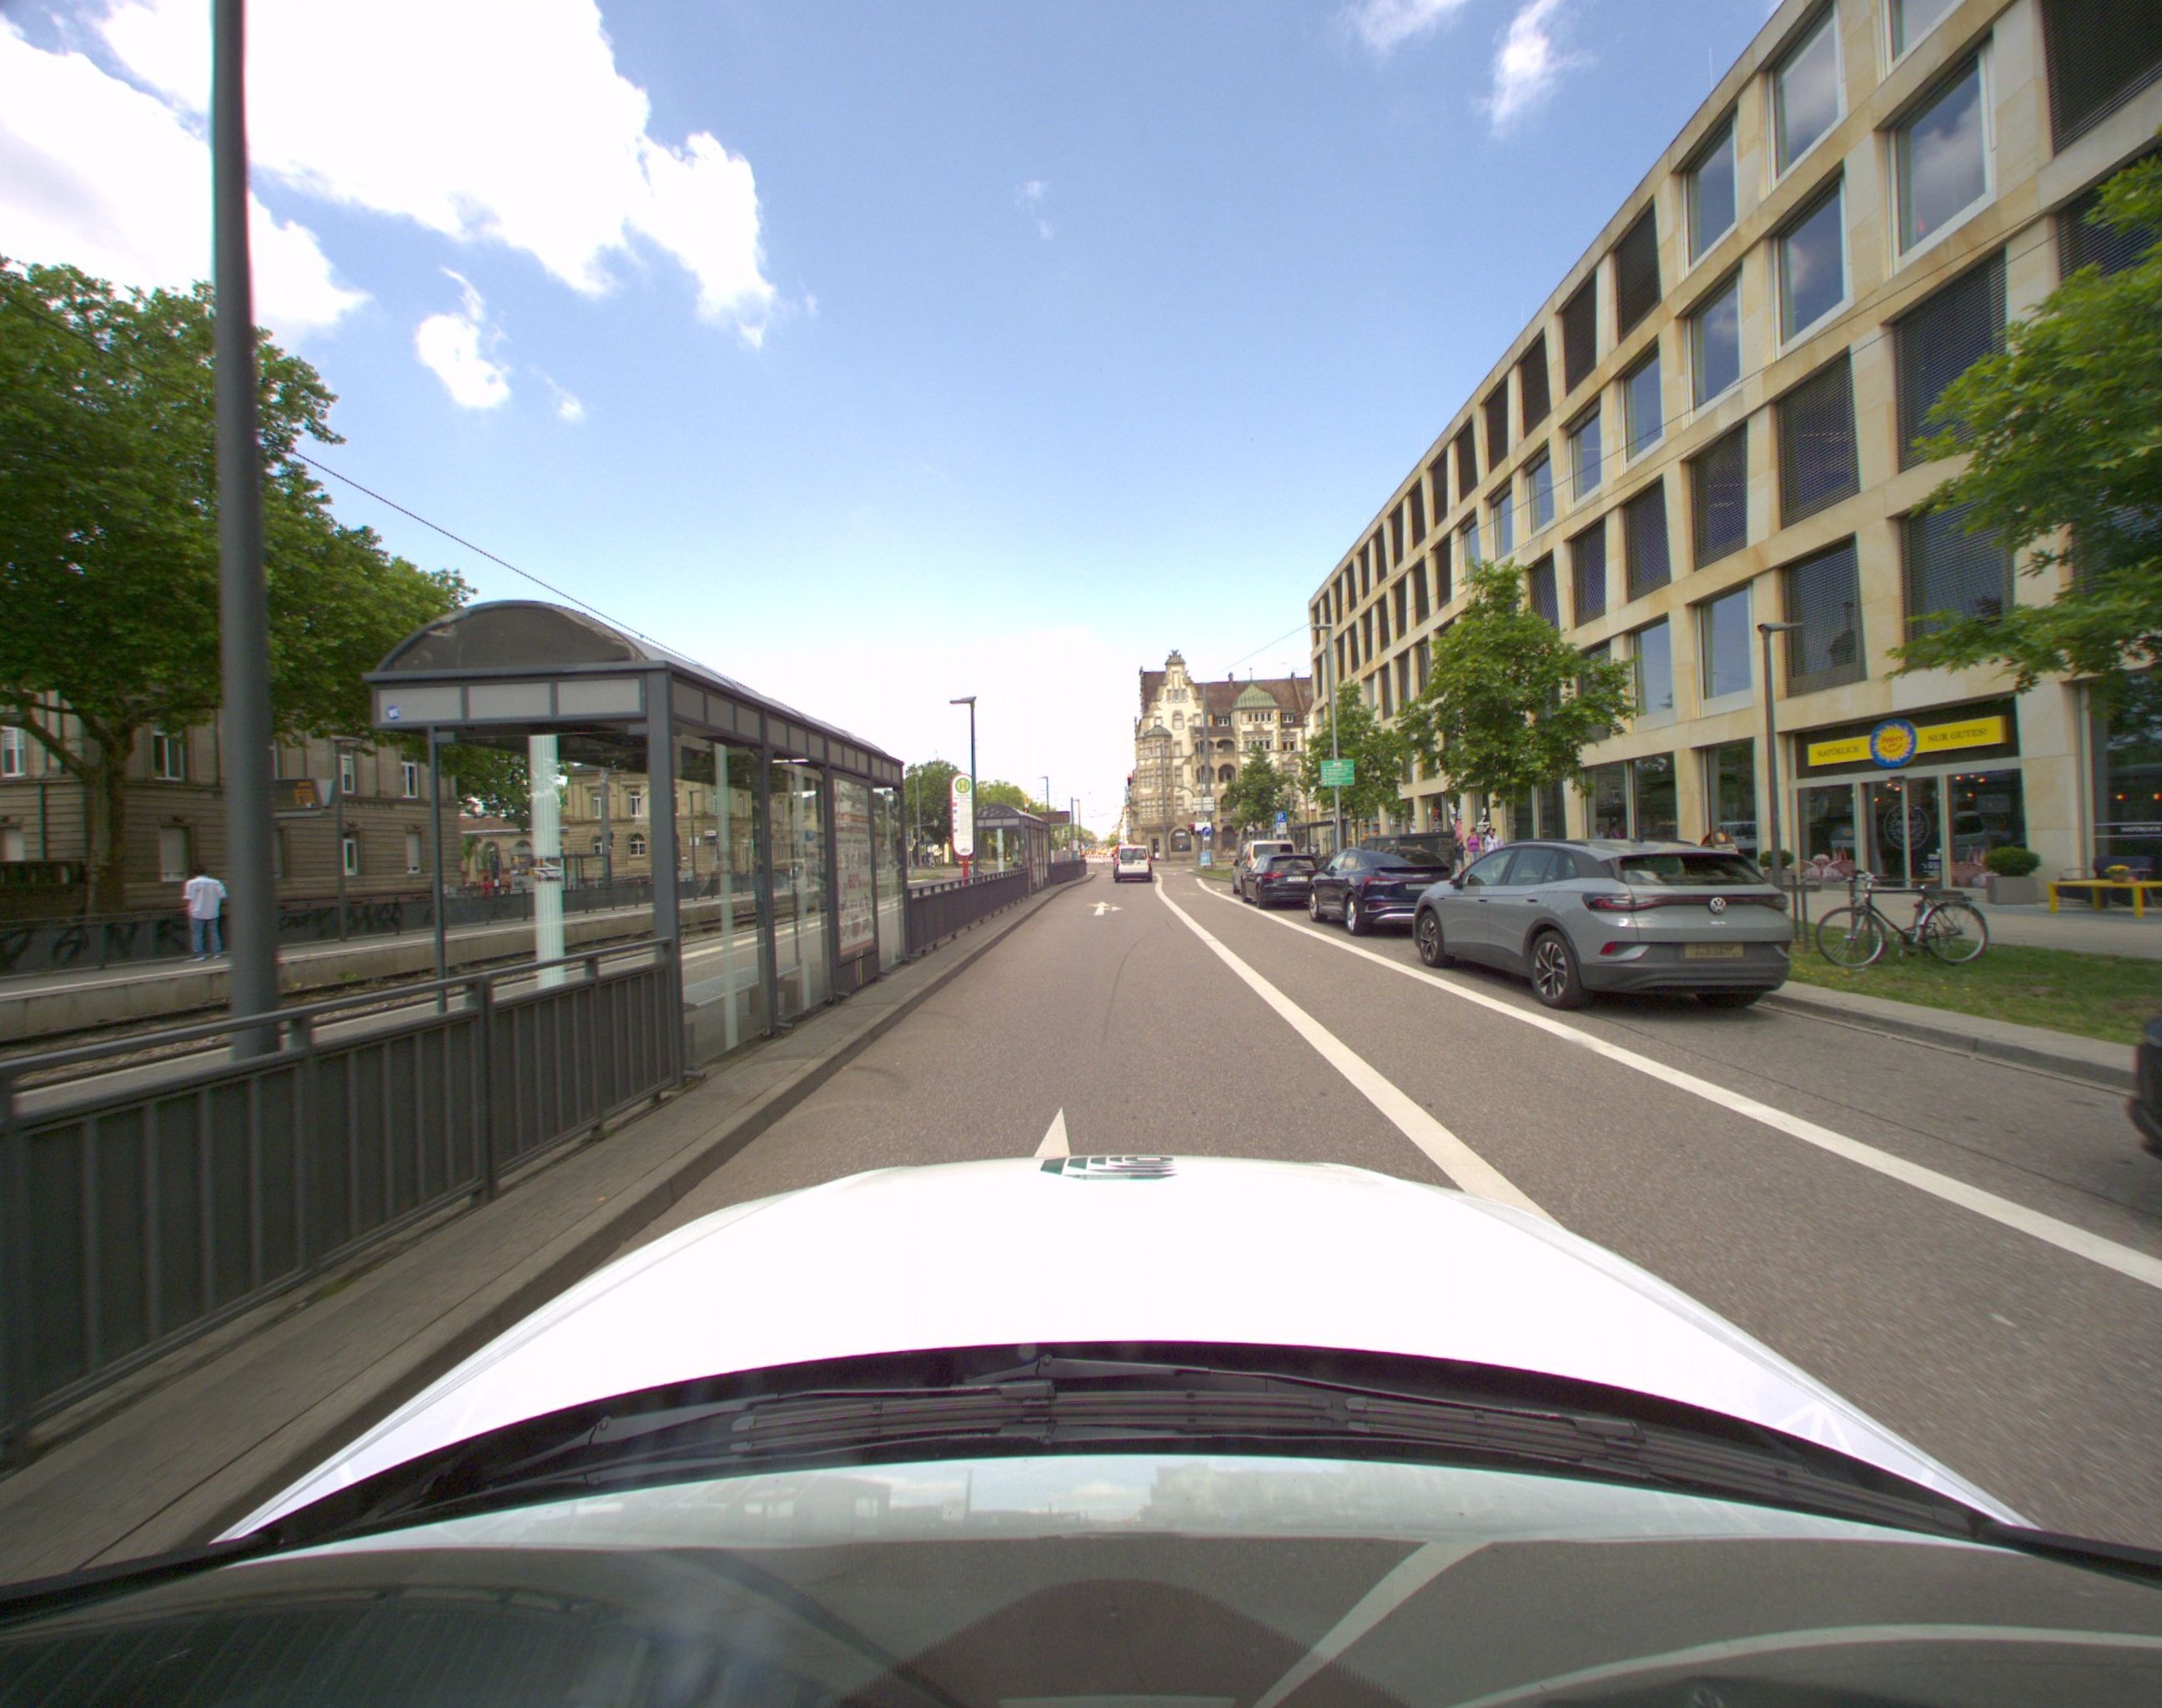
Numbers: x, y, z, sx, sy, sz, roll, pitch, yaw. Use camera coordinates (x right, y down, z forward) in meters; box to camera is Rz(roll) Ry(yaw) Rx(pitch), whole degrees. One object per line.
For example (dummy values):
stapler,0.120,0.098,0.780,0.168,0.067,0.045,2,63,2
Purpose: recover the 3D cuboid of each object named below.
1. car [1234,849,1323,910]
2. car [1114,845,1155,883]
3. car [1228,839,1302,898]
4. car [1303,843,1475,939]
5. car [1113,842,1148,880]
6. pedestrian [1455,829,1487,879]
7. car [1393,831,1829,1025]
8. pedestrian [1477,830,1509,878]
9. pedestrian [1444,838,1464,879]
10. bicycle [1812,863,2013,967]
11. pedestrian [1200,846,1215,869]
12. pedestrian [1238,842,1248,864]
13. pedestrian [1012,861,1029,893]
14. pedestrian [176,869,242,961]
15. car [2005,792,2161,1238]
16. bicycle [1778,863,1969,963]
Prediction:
car,5.217,0.616,21.951,1.438,1.470,4.093,0,0,1
car,2.616,0.467,40.637,1.862,1.746,4.002,-1,0,2
car,5.963,0.438,26.748,1.704,1.796,3.361,0,0,0
car,5.709,0.605,15.687,1.800,1.591,4.307,0,0,1
car,2.781,0.374,46.679,1.862,2.020,4.002,-1,0,2
pedestrian,13.874,0.000,28.982,0.757,1.723,0.659,-2,0,1
car,5.297,0.596,9.136,1.801,1.591,4.841,0,0,1
pedestrian,14.649,0.003,28.969,0.757,1.670,0.659,-2,0,1
pedestrian,13.267,0.152,28.970,0.437,1.448,0.434,-2,0,1
bicycle,9.323,0.676,9.155,1.832,1.030,0.340,-4,-1,0
pedestrian,9.132,0.239,58.877,0.807,1.572,0.626,-4,-1,-14
pedestrian,12.007,-0.078,60.416,0.532,1.572,0.542,-4,-1,0
pedestrian,-2.246,0.846,30.271,0.511,1.140,0.501,-4,0,2
pedestrian,-16.471,1.131,15.401,0.498,1.683,0.643,-2,0,2
car,4.886,0.608,1.148,1.732,1.669,4.841,0,0,1
bicycle,9.239,0.683,9.516,1.832,1.030,0.340,-4,-1,0
